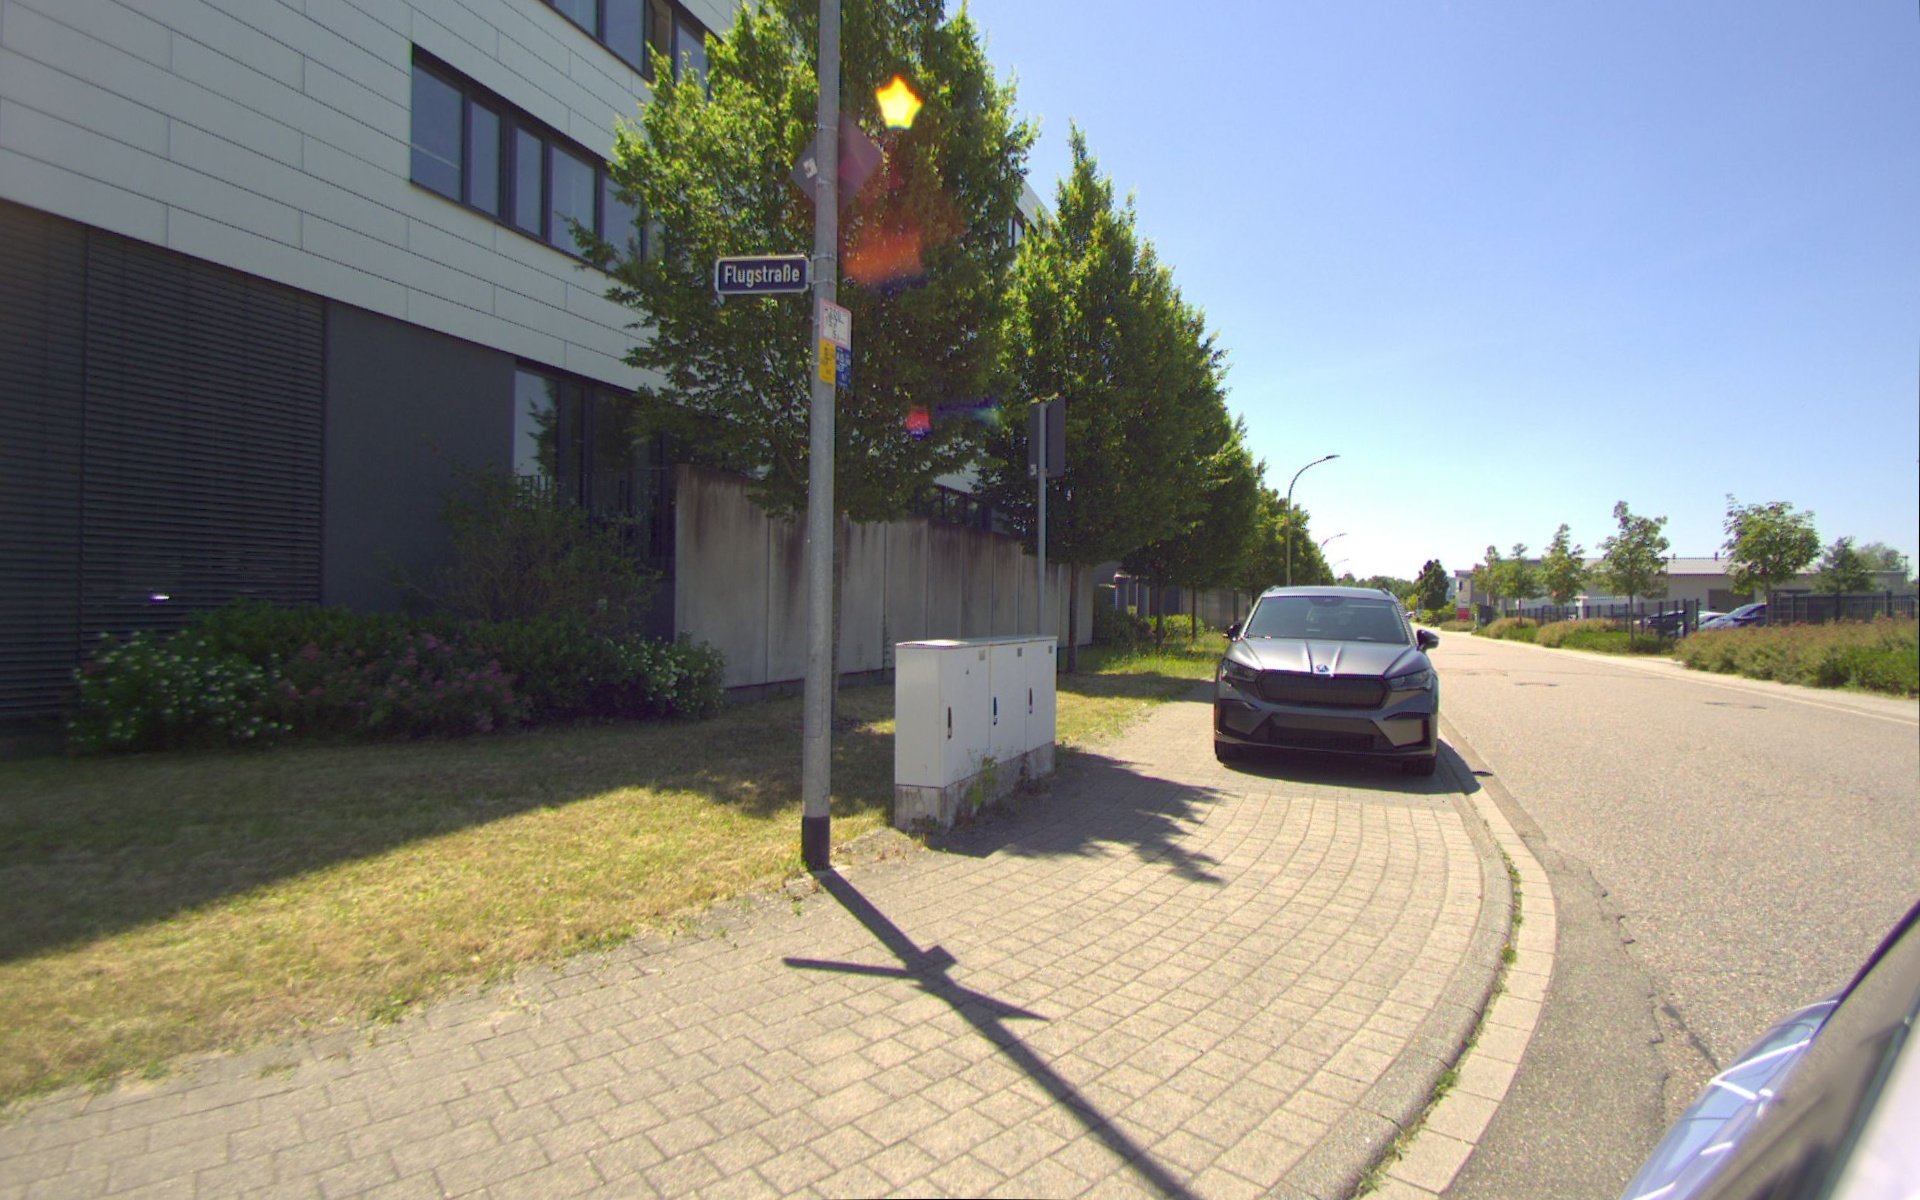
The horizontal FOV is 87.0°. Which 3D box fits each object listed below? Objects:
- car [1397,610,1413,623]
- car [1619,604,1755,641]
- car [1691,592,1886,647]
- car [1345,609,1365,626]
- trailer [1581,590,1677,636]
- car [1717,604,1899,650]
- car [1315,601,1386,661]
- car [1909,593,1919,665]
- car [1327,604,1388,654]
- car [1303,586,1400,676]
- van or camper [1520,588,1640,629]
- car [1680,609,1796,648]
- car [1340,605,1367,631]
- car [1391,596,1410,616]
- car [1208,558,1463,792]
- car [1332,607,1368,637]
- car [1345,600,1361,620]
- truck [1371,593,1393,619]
[{"bbox_3d":[63.558,2.337,144.486,1.977,1.705,3.969,1,0,22],"label":"car"},{"bbox_3d":[33.427,1.008,46.700,4.694,1.650,1.984,0,-1,23],"label":"car"},{"bbox_3d":[29.672,0.692,36.475,5.016,1.875,1.949,0,-1,22],"label":"car"},{"bbox_3d":[39.194,1.712,100.515,1.717,1.529,3.640,2,0,21],"label":"car"},{"bbox_3d":[36.223,0.707,54.917,3.949,2.390,1.715,-2,-1,20],"label":"trailer"},{"bbox_3d":[28.549,0.897,34.271,4.268,1.465,1.949,0,-1,22],"label":"car"},{"bbox_3d":[11.150,0.838,28.813,1.702,1.499,4.000,3,0,22],"label":"car"},{"bbox_3d":[23.405,0.696,22.571,1.978,1.745,4.058,0,0,23],"label":"car"},{"bbox_3d":[12.975,0.895,32.977,1.702,1.441,3.920,3,0,22],"label":"car"},{"bbox_3d":[8.497,0.623,21.915,1.743,1.684,4.329,2,0,22],"label":"car"},{"bbox_3d":[42.542,0.579,69.709,6.722,2.718,2.554,0,-1,23],"label":"van or camper"},{"bbox_3d":[31.965,1.156,41.683,3.341,1.517,1.890,0,-1,22],"label":"car"},{"bbox_3d":[27.537,1.223,70.869,1.722,1.691,4.337,2,0,21],"label":"car"},{"bbox_3d":[71.680,1.006,164.802,2.572,3.273,6.174,1,-1,22],"label":"car"},{"bbox_3d":[3.680,0.571,10.010,1.788,1.683,4.575,3,0,21],"label":"car"},{"bbox_3d":[20.828,1.142,54.057,1.677,1.495,4.238,2,0,21],"label":"car"},{"bbox_3d":[54.064,1.374,139.325,2.036,2.732,4.801,1,0,21],"label":"car"},{"bbox_3d":[61.368,0.954,147.345,2.576,3.590,10.427,1,0,21],"label":"truck"}]
